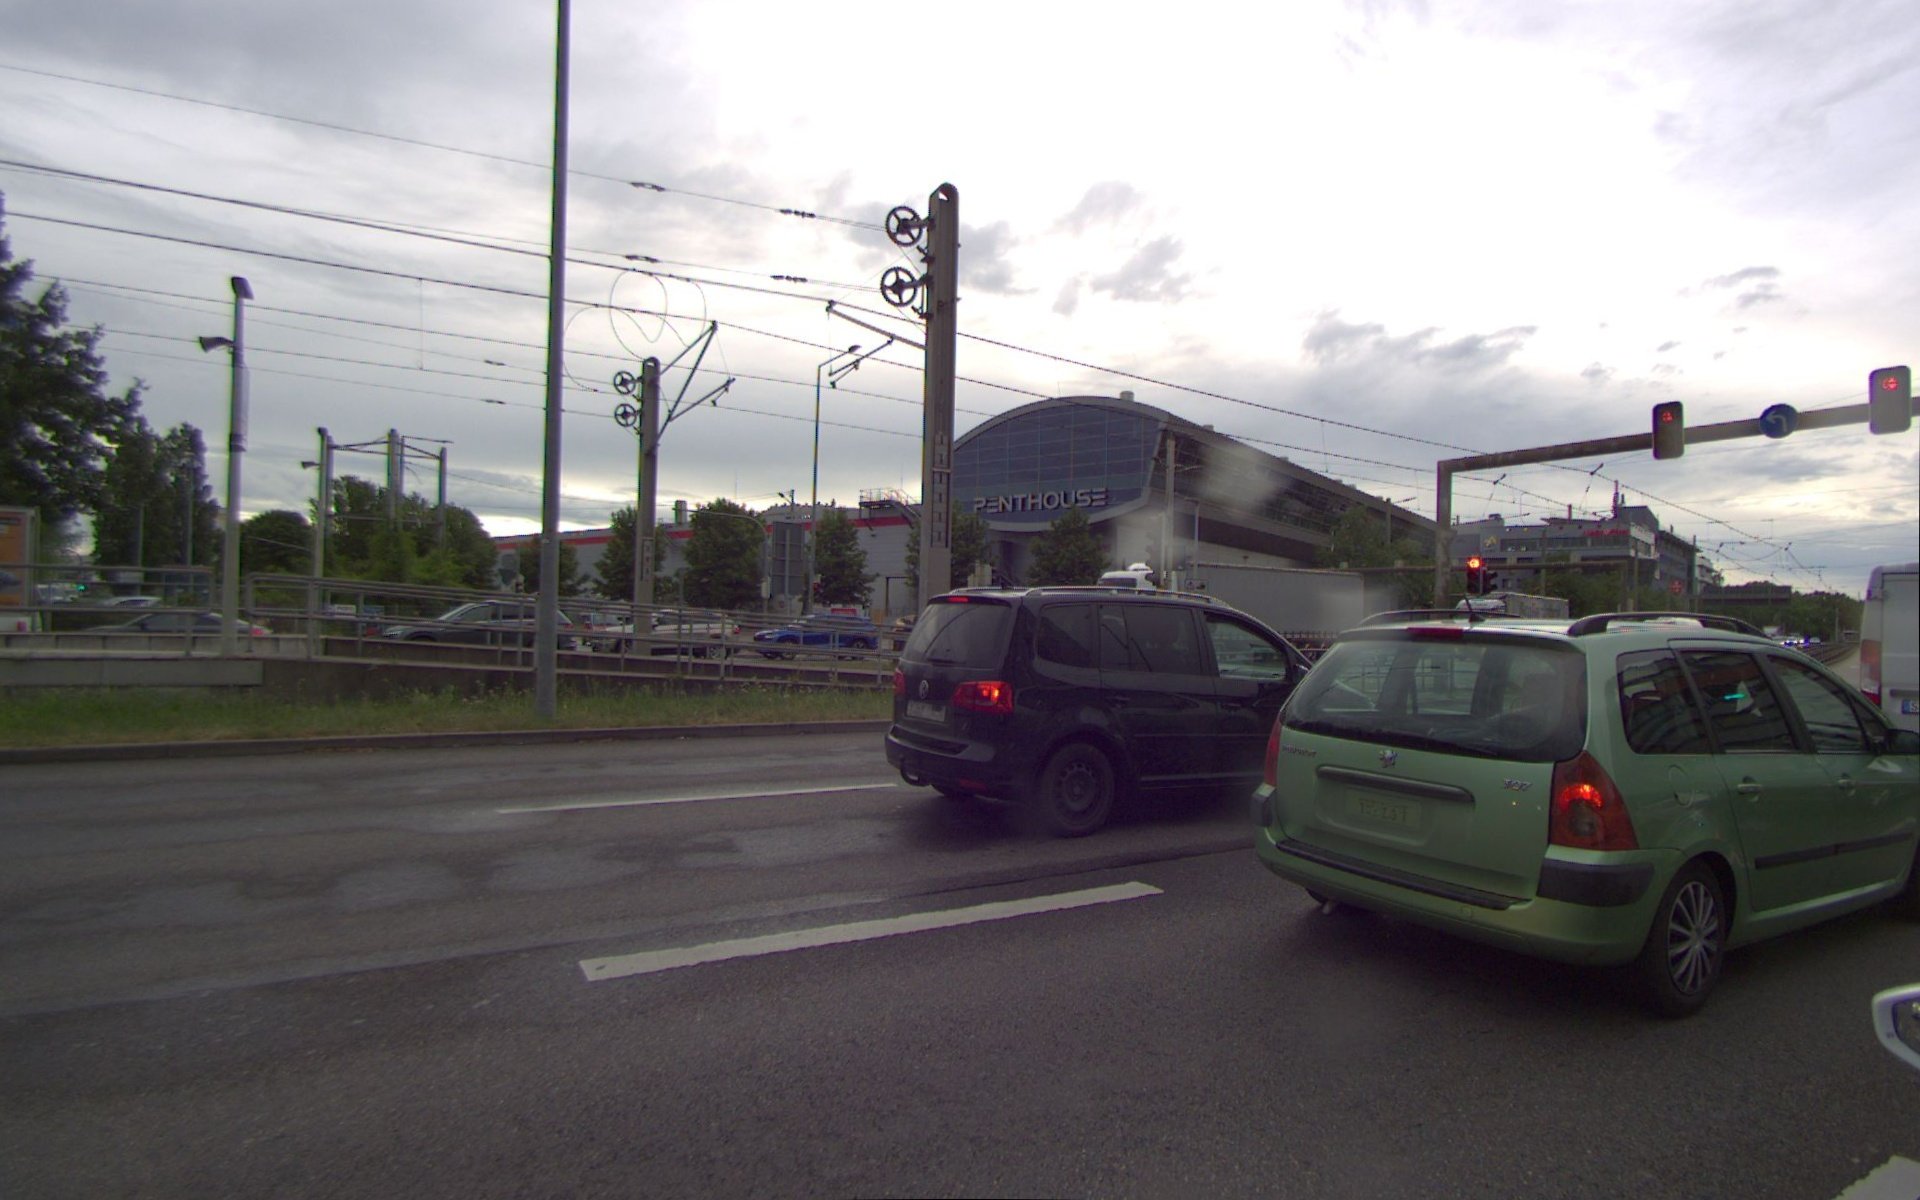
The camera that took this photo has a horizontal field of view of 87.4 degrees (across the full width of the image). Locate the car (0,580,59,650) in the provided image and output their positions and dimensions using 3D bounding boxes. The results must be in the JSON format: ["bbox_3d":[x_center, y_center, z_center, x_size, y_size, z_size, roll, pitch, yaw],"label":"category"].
[{"bbox_3d":[-24.941,0.299,24.579,4.038,1.648,1.563,3,0,-32],"label":"car"}]

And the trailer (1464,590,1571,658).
[{"bbox_3d":[37.838,1.755,67.823,12.658,4.178,2.624,4,-2,-44],"label":"trailer"}]

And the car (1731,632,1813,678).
[{"bbox_3d":[38.899,2.615,48.084,4.302,2.040,1.762,2,1,-34],"label":"car"}]

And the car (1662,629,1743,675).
[{"bbox_3d":[36.663,2.547,49.581,4.301,2.040,1.762,2,1,-34],"label":"car"}]

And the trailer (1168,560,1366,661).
[{"bbox_3d":[14.315,0.611,46.016,11.344,4.161,2.772,2,-2,-39],"label":"trailer"}]

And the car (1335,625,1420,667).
[{"bbox_3d":[18.689,2.070,44.940,4.065,1.674,1.870,3,0,-41],"label":"car"}]

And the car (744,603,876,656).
[{"bbox_3d":[-5.440,1.084,36.523,4.277,1.650,1.980,3,0,-35],"label":"car"}]

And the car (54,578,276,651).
[{"bbox_3d":[-19.003,0.361,24.264,3.956,1.522,1.777,3,0,-32],"label":"car"}]

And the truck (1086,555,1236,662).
[{"bbox_3d":[8.305,0.416,41.214,5.934,4.049,2.810,2,-1,-38],"label":"truck"}]

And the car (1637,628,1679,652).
[{"bbox_3d":[58.531,3.322,84.179,4.876,1.862,1.973,1,2,-45],"label":"car"}]

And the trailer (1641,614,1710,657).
[{"bbox_3d":[69.616,3.487,97.639,11.136,3.905,2.703,3,-3,-39],"label":"trailer"}]

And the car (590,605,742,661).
[{"bbox_3d":[-8.936,1.025,30.638,4.107,1.481,1.729,3,0,-32],"label":"car"}]

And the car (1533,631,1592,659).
[{"bbox_3d":[38.036,2.835,63.371,4.533,1.576,1.885,3,0,-42],"label":"car"}]

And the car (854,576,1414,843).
[{"bbox_3d":[1.438,0.733,7.887,4.142,1.613,1.719,3,1,-29],"label":"car"}]

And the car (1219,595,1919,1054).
[{"bbox_3d":[3.565,0.856,5.210,4.353,1.488,1.686,3,0,-31],"label":"car"}]

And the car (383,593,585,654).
[{"bbox_3d":[-11.890,0.600,25.160,4.366,1.281,1.897,3,0,-32],"label":"car"}]

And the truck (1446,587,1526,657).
[{"bbox_3d":[33.353,1.466,63.579,6.144,4.184,2.641,4,-2,-43],"label":"truck"}]

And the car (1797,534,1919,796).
[{"bbox_3d":[10.672,0.700,10.116,4.862,2.324,2.426,3,0,-38],"label":"car"}]

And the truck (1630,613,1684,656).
[{"bbox_3d":[65.287,3.276,94.097,5.365,3.855,2.725,3,-3,-39],"label":"truck"}]

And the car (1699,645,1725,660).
[{"bbox_3d":[81.628,5.715,109.007,2.132,1.525,4.283,0,-2,39],"label":"car"}]
